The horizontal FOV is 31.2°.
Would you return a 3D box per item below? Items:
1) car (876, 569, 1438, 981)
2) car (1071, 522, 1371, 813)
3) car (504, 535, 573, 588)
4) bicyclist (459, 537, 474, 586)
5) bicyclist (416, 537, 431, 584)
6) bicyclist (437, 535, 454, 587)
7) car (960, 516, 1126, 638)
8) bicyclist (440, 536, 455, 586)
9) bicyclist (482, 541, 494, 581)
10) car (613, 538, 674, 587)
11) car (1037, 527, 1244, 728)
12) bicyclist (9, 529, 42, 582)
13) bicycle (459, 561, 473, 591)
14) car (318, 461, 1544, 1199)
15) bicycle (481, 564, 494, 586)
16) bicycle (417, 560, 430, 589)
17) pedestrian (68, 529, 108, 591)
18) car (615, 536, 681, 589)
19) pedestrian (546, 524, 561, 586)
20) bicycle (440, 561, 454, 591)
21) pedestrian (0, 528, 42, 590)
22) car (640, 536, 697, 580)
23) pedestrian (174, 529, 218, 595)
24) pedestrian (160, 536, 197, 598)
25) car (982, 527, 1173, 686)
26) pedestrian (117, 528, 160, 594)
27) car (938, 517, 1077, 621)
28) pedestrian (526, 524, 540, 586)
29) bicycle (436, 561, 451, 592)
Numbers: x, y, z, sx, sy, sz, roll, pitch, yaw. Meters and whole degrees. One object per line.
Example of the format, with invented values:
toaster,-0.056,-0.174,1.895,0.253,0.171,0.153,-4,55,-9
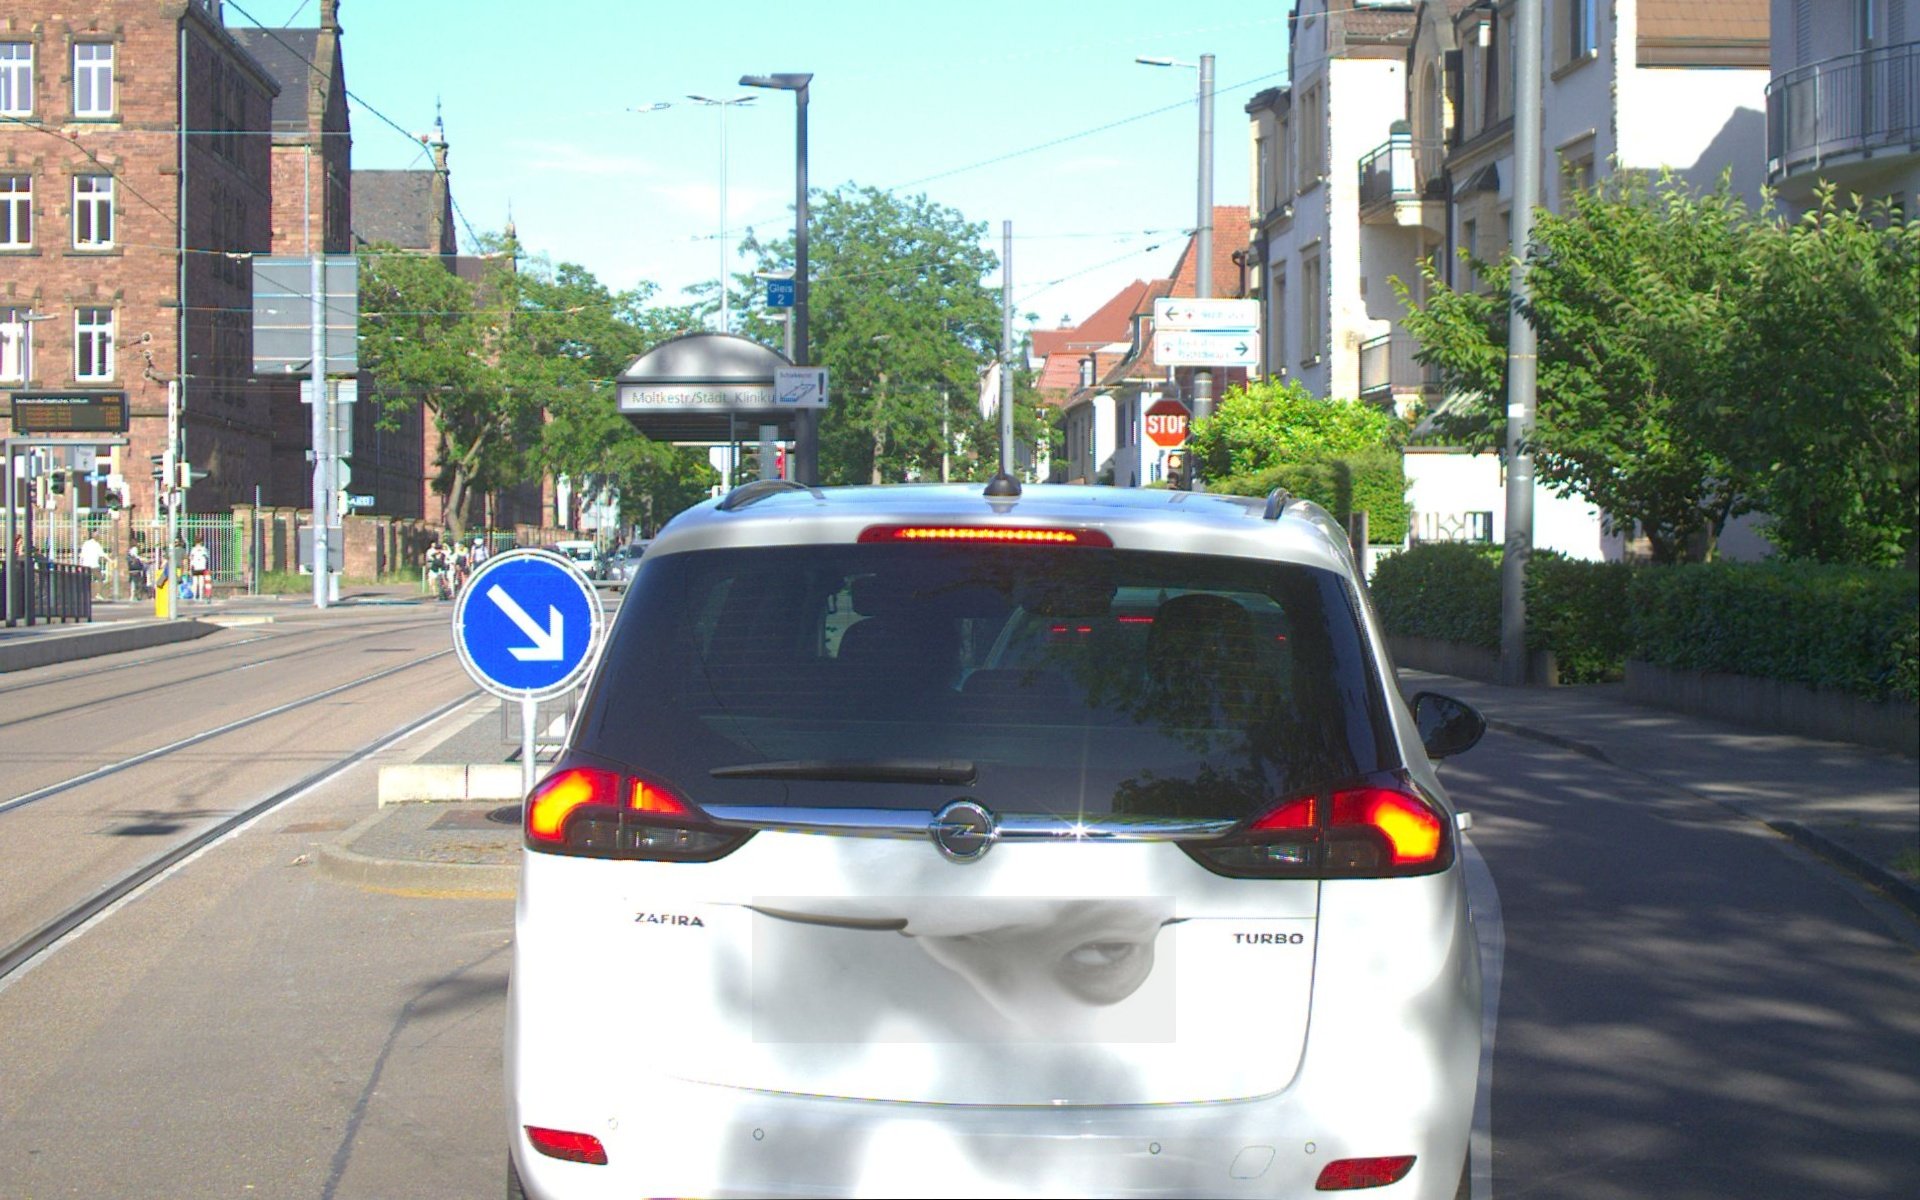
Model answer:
car,0.746,0.591,13.979,1.953,1.392,4.000,0,1,2
car,1.494,0.334,20.824,1.637,1.595,3.854,0,1,2
car,-13.106,-1.217,107.085,1.993,1.623,4.001,0,1,-5
bicyclist,-15.678,-1.236,109.148,0.444,1.548,0.496,0,1,-4
bicyclist,-17.971,-1.328,115.095,0.444,1.548,0.496,0,1,-4
bicyclist,-15.465,-1.176,103.282,0.444,1.548,0.743,0,1,-4
car,1.023,-0.314,44.296,1.993,1.497,4.000,0,1,-1
bicyclist,-15.883,-1.213,106.564,0.444,1.548,0.496,0,1,-4
bicyclist,-15.339,-1.271,111.656,0.359,1.299,0.398,0,1,-4
car,-10.522,-1.262,114.414,1.993,1.623,4.001,0,1,-5
car,1.496,0.182,29.252,1.637,1.595,3.854,0,1,2
bicyclist,-25.363,-1.216,93.342,0.758,1.425,0.516,1,0,-2
bicycle,-15.687,-0.771,109.163,0.344,0.946,0.997,1,0,-4
car,0.137,0.584,7.599,1.994,1.639,3.992,1,1,6
bicycle,-15.340,-0.807,111.666,0.344,0.722,0.997,1,0,-4
bicycle,-17.976,-0.862,115.138,0.344,0.946,0.997,1,0,-4
pedestrian,-22.531,-1.046,88.860,0.802,1.583,0.935,1,0,-3
car,-9.726,-1.180,107.308,1.993,1.623,4.001,0,1,-5
pedestrian,-13.278,-1.463,112.253,0.444,2.007,0.496,0,1,-4
bicycle,-15.919,-0.749,106.614,0.344,0.946,0.997,1,0,-4
pedestrian,-24.295,-1.068,88.707,0.932,1.583,0.804,0,1,-39
car,-11.068,-1.605,130.651,1.993,1.623,4.001,0,1,-2
pedestrian,-19.760,-0.986,88.961,0.895,1.678,1.029,1,0,-1
pedestrian,-21.685,-0.910,95.391,0.735,1.708,0.705,1,0,22
car,1.179,0.029,36.176,1.830,1.574,4.010,0,1,-1
pedestrian,-21.153,-0.995,88.548,0.843,1.686,1.029,1,0,-1
car,0.671,-0.482,51.756,1.993,1.497,4.000,0,1,-1
pedestrian,-13.896,-1.468,111.926,0.444,2.007,0.496,0,1,-4
bicycle,-15.473,-0.708,103.081,0.344,0.946,1.160,1,0,-4
